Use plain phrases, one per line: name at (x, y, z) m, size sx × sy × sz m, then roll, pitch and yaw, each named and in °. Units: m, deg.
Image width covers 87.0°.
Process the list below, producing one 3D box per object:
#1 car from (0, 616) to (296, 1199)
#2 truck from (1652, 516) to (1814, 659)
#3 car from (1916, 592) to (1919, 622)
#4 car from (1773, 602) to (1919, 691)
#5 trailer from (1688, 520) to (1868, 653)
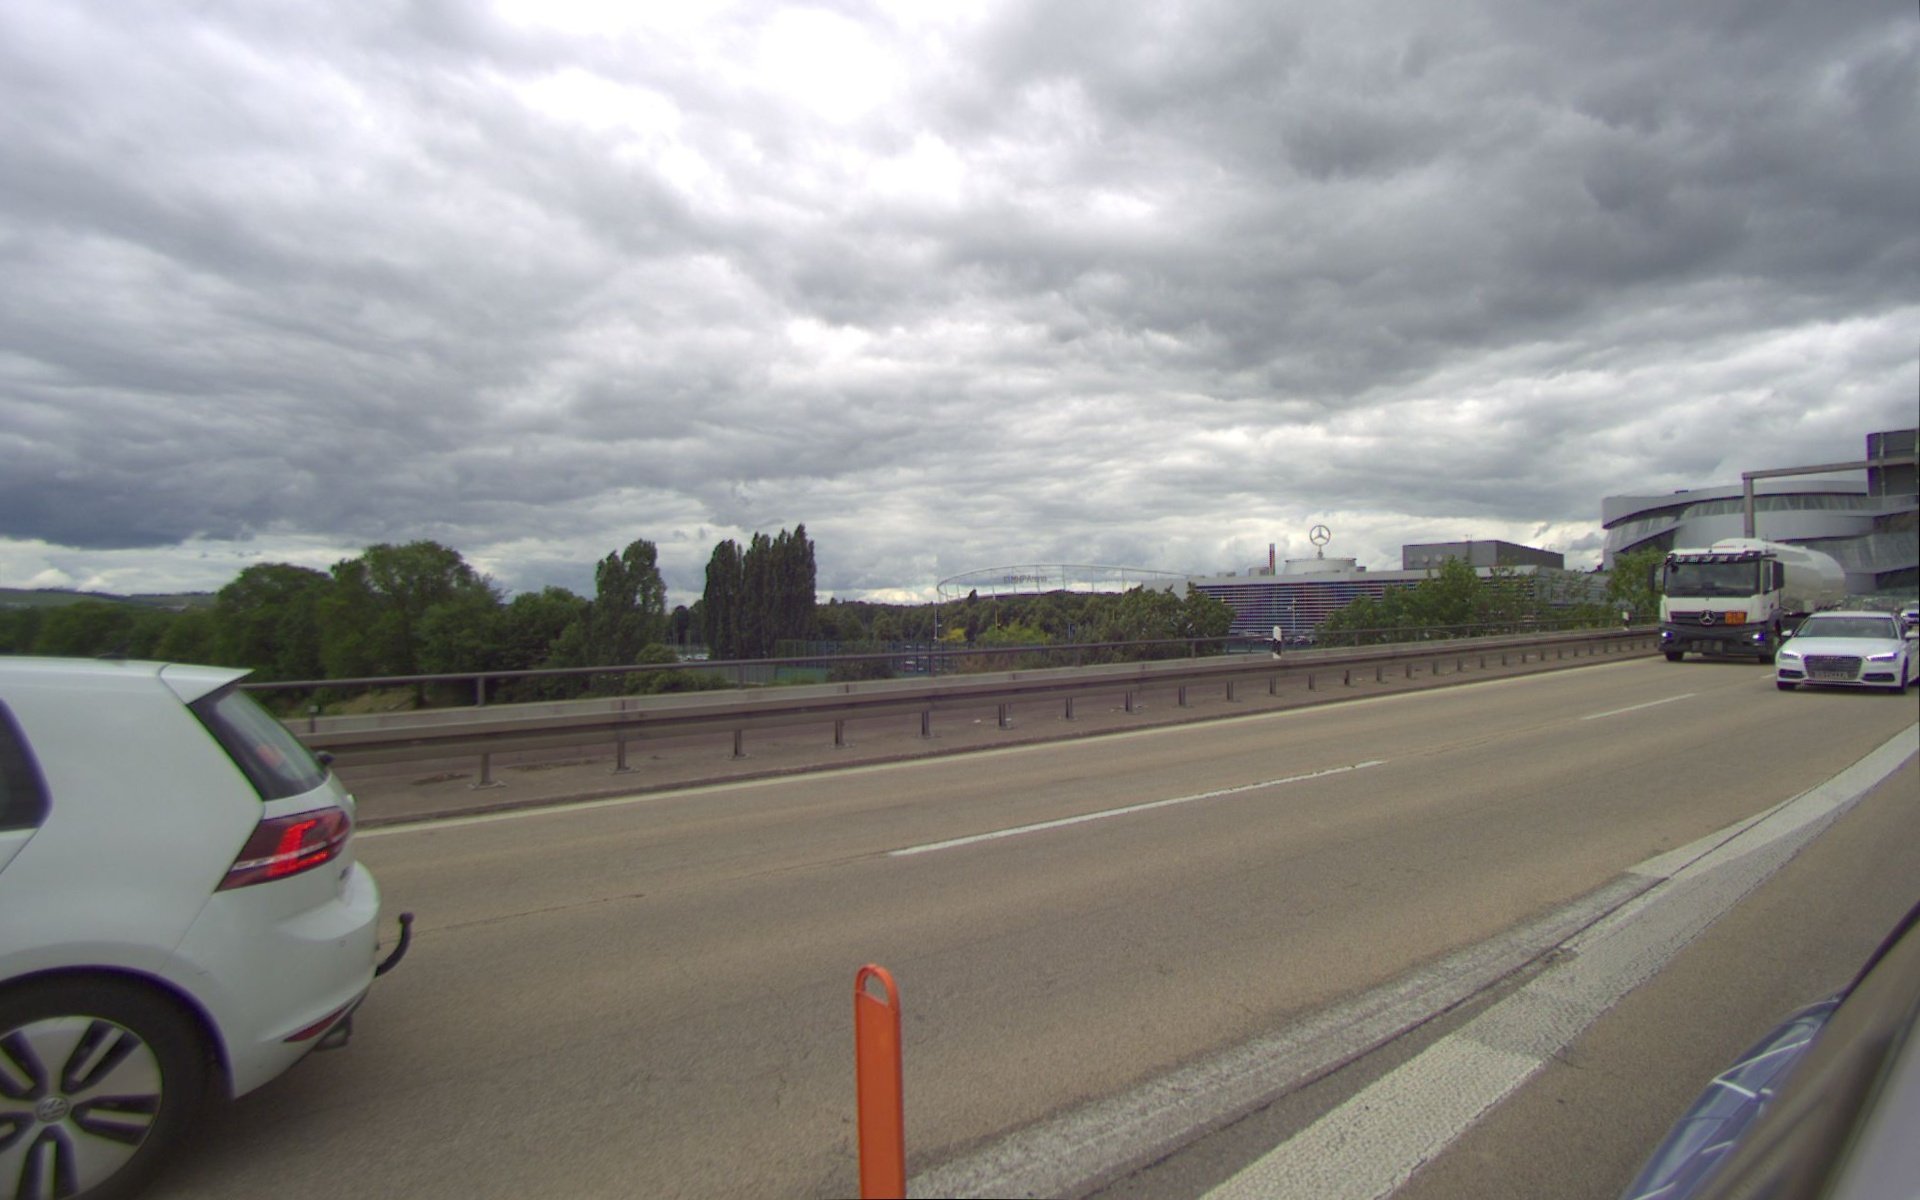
car at (-3.889, 0.800, 2.271) m, size 3.993 × 1.470 × 1.760 m, roll 0°, pitch -2°, yaw -34°
truck at (21.223, -0.334, 27.712) m, size 4.819 × 3.558 × 2.635 m, roll -1°, pitch 0°, yaw -41°
car at (55.157, 0.390, 56.823) m, size 3.564 × 1.654 × 1.784 m, roll 0°, pitch 0°, yaw -41°
car at (16.673, 0.790, 18.675) m, size 3.861 × 1.470 × 1.847 m, roll 1°, pitch -1°, yaw -39°
trailer at (26.132, -0.379, 32.045) m, size 11.025 × 3.588 × 2.654 m, roll 0°, pitch 0°, yaw -41°
